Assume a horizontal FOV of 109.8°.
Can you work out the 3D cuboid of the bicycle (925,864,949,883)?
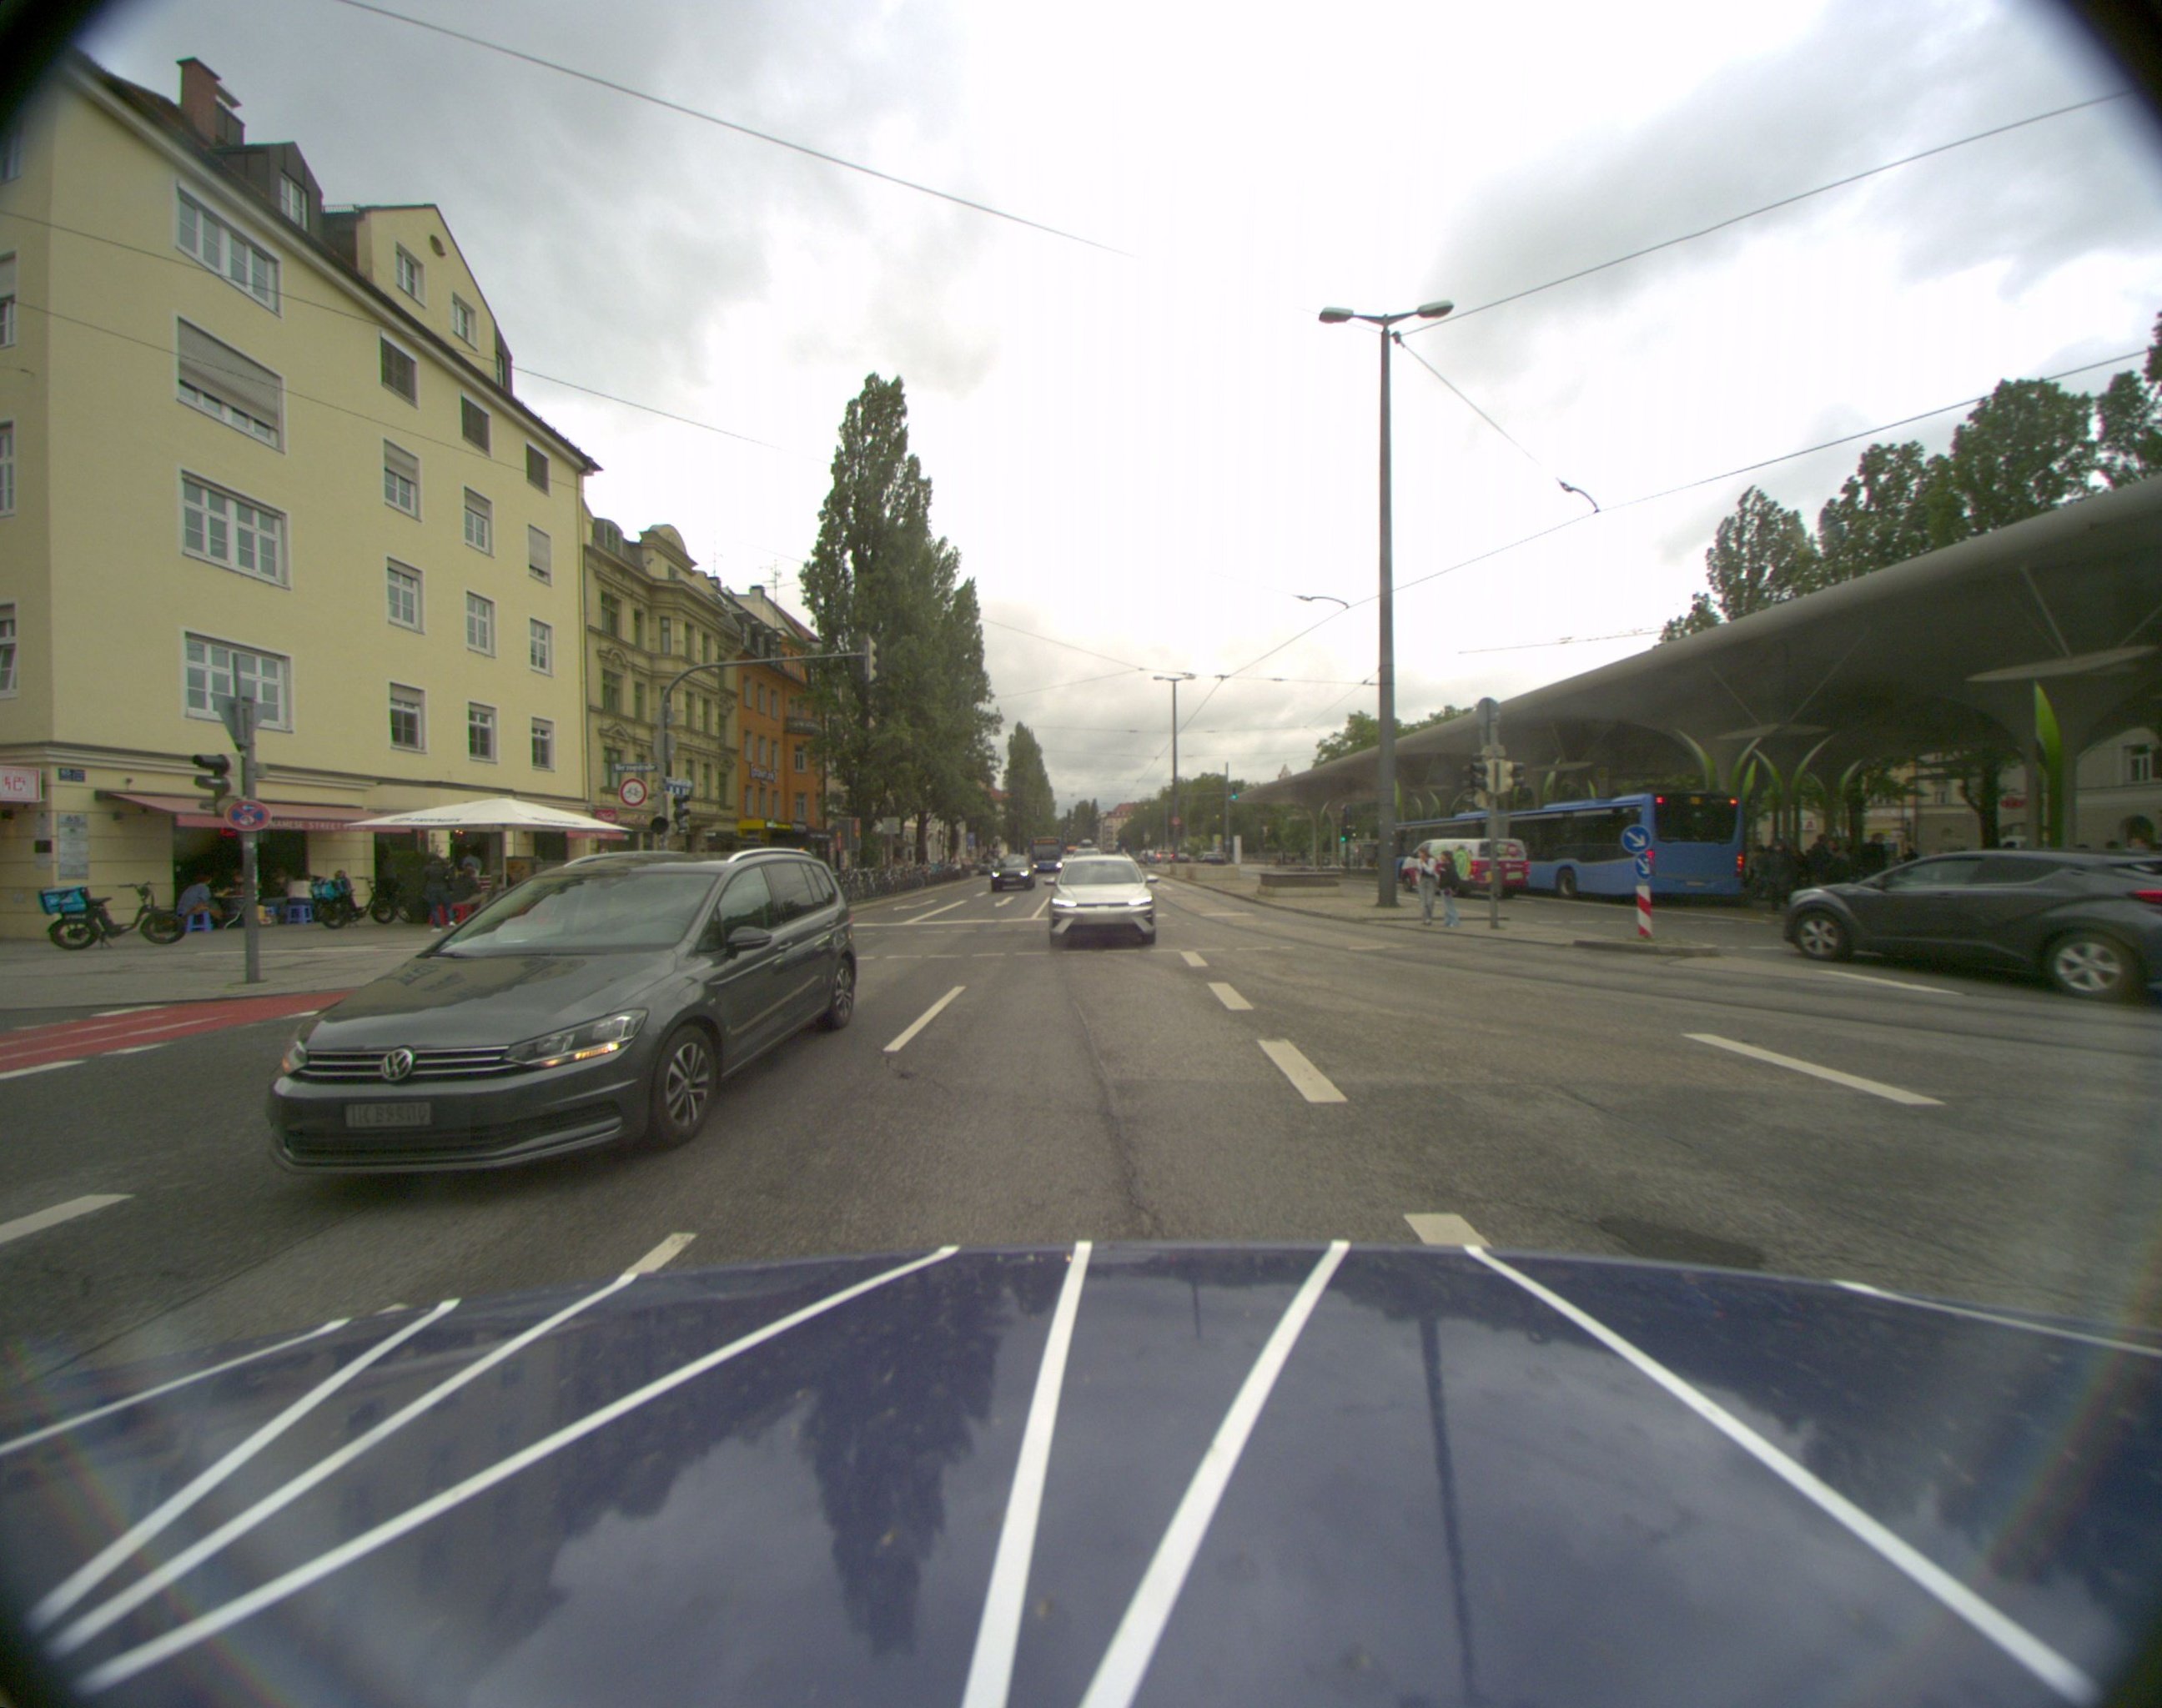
[{"bbox_3d":[-7.815,1.078,41.156,0.326,0.990,1.837,-1,-1,-42],"label":"bicycle"}]

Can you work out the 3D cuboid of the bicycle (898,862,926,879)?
[{"bbox_3d":[-12.423,1.210,55.935,1.892,1.167,0.582,-1,1,2],"label":"bicycle"}]

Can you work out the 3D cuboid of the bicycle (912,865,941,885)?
[{"bbox_3d":[-7.986,1.093,39.352,1.837,0.990,0.326,-2,-1,37],"label":"bicycle"}]

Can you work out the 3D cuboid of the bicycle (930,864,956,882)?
[{"bbox_3d":[-7.911,1.072,43.449,1.837,0.990,0.326,-2,-1,38],"label":"bicycle"}]

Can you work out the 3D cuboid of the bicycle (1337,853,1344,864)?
[{"bbox_3d":[27.136,0.453,79.503,0.479,1.090,1.851,0,1,14],"label":"bicycle"}]

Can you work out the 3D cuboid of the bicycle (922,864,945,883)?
[{"bbox_3d":[-8.112,1.089,41.854,0.326,0.990,1.837,-1,-1,-42],"label":"bicycle"}]

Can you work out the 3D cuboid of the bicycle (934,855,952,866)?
[{"bbox_3d":[-15.212,0.674,83.704,1.890,1.148,0.464,-2,1,-42],"label":"bicycle"}]

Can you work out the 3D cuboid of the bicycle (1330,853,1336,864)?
[{"bbox_3d":[26.415,0.486,79.709,0.479,1.090,1.851,0,1,14],"label":"bicycle"}]

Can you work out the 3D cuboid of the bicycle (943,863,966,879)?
[{"bbox_3d":[-7.872,1.059,47.088,1.837,0.990,0.376,-2,-1,45],"label":"bicycle"}]

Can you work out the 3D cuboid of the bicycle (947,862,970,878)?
[{"bbox_3d":[-7.790,1.049,48.391,1.837,0.990,0.376,-2,-1,43],"label":"bicycle"}]

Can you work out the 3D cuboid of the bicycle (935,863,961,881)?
[{"bbox_3d":[-7.887,1.069,44.966,1.837,0.990,0.376,-2,-1,38],"label":"bicycle"}]

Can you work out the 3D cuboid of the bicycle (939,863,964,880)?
[{"bbox_3d":[-7.922,1.064,46.351,1.837,0.990,0.376,-2,-1,38],"label":"bicycle"}]

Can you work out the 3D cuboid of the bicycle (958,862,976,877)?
[{"bbox_3d":[-7.697,1.033,51.239,0.376,0.990,1.837,-1,-1,-38],"label":"bicycle"}]

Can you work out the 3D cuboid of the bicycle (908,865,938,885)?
[{"bbox_3d":[-8.056,1.099,38.750,1.837,0.990,0.326,-2,-1,37],"label":"bicycle"}]

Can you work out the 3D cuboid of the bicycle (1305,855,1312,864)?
[{"bbox_3d":[24.032,0.583,80.155,0.479,0.889,1.850,0,0,9],"label":"bicycle"}]

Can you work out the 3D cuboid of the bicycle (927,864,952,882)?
[{"bbox_3d":[-7.885,1.077,42.184,1.837,0.990,0.326,-2,-1,43],"label":"bicycle"}]

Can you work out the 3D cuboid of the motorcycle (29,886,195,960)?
[{"bbox_3d":[-17.636,1.230,13.880,1.769,1.193,0.541,-1,1,-29],"label":"motorcycle"}]

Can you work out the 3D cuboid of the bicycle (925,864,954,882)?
[{"bbox_3d":[-7.974,1.078,42.836,1.837,0.990,0.326,-2,-1,33],"label":"bicycle"}]

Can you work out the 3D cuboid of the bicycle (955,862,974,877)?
[{"bbox_3d":[-7.753,1.038,50.599,0.376,0.990,1.837,-1,-1,-38],"label":"bicycle"}]

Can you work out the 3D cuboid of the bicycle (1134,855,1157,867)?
[{"bbox_3d":[6.427,0.706,75.754,2.234,1.144,0.505,-2,2,-24],"label":"bicycle"}]

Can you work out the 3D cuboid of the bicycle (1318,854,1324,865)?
[{"bbox_3d":[25.204,0.543,79.918,0.479,1.090,1.851,0,1,14],"label":"bicycle"}]

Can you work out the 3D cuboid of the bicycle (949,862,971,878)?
[{"bbox_3d":[-7.819,1.048,49.141,0.376,0.990,1.837,-1,-1,-44],"label":"bicycle"}]

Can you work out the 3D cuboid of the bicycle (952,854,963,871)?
[{"bbox_3d":[-9.474,0.668,58.365,0.424,1.281,1.778,-1,1,2],"label":"bicycle"}]

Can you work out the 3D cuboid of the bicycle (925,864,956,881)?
[{"bbox_3d":[-8.165,1.077,44.170,1.837,0.990,0.376,-2,-1,25],"label":"bicycle"}]

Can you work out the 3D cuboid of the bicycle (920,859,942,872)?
[{"bbox_3d":[-13.600,1.073,68.857,1.801,1.103,0.447,-1,1,2],"label":"bicycle"}]

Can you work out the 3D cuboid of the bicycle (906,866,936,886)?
[{"bbox_3d":[-8.022,1.101,37.981,1.837,0.990,0.326,-2,-1,37],"label":"bicycle"}]

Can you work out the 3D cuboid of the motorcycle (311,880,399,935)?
[{"bbox_3d":[-16.831,1.212,17.670,0.487,1.150,1.571,-1,1,1],"label":"motorcycle"}]

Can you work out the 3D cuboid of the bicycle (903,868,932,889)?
[{"bbox_3d":[-7.970,1.180,36.964,1.837,0.990,0.326,-2,-1,41],"label":"bicycle"}]

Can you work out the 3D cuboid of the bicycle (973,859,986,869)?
[{"bbox_3d":[-11.212,1.054,83.695,0.445,1.017,1.842,-1,1,27],"label":"bicycle"}]

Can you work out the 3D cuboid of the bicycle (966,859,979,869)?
[{"bbox_3d":[-11.946,1.098,83.645,0.445,1.017,1.842,-1,1,27],"label":"bicycle"}]

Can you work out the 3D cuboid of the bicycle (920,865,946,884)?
[{"bbox_3d":[-7.931,1.085,40.715,1.837,0.990,0.326,-2,-1,43],"label":"bicycle"}]

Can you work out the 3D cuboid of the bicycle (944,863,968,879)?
[{"bbox_3d":[-7.859,1.056,47.710,1.837,0.990,0.376,-2,-1,39],"label":"bicycle"}]

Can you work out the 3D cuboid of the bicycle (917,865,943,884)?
[{"bbox_3d":[-7.958,1.089,40.063,1.837,0.990,0.326,-2,-1,43],"label":"bicycle"}]

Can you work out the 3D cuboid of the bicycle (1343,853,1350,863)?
[{"bbox_3d":[27.688,0.427,79.310,0.479,1.090,1.851,0,1,14],"label":"bicycle"}]

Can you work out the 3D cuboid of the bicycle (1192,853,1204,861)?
[{"bbox_3d":[17.046,0.405,110.835,1.693,1.165,0.561,-1,1,-9],"label":"bicycle"}]

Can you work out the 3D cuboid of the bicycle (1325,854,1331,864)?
[{"bbox_3d":[25.898,0.511,79.804,0.479,1.090,1.851,0,1,14],"label":"bicycle"}]

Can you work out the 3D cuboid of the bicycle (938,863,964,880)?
[{"bbox_3d":[-7.820,1.062,45.713,1.837,0.990,0.376,-2,-1,38],"label":"bicycle"}]

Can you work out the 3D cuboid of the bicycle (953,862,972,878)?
[{"bbox_3d":[-7.785,1.043,49.835,0.376,0.990,1.837,-1,-1,-38],"label":"bicycle"}]

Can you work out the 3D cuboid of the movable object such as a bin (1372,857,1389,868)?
[{"bbox_3d":[29.456,0.831,74.727,1.336,1.078,0.957,-1,1,1],"label":"movable object such as a bin"}]

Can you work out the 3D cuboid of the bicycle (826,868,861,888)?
[{"bbox_3d":[-12.771,1.302,40.897,1.727,1.039,0.387,-1,0,-5],"label":"bicycle"}]

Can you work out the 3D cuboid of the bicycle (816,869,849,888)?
[{"bbox_3d":[-13.678,1.342,41.767,1.725,1.039,0.388,-2,-1,12],"label":"bicycle"}]

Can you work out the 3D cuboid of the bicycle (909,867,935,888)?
[{"bbox_3d":[-7.898,1.174,37.656,0.326,0.990,1.837,-1,-1,-45],"label":"bicycle"}]

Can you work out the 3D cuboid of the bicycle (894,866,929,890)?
[{"bbox_3d":[-7.956,1.116,35.634,1.837,1.106,0.468,0,0,33],"label":"bicycle"}]

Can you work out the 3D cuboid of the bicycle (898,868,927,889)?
[{"bbox_3d":[-8.091,1.189,36.390,1.837,0.990,0.326,-2,-1,41],"label":"bicycle"}]
